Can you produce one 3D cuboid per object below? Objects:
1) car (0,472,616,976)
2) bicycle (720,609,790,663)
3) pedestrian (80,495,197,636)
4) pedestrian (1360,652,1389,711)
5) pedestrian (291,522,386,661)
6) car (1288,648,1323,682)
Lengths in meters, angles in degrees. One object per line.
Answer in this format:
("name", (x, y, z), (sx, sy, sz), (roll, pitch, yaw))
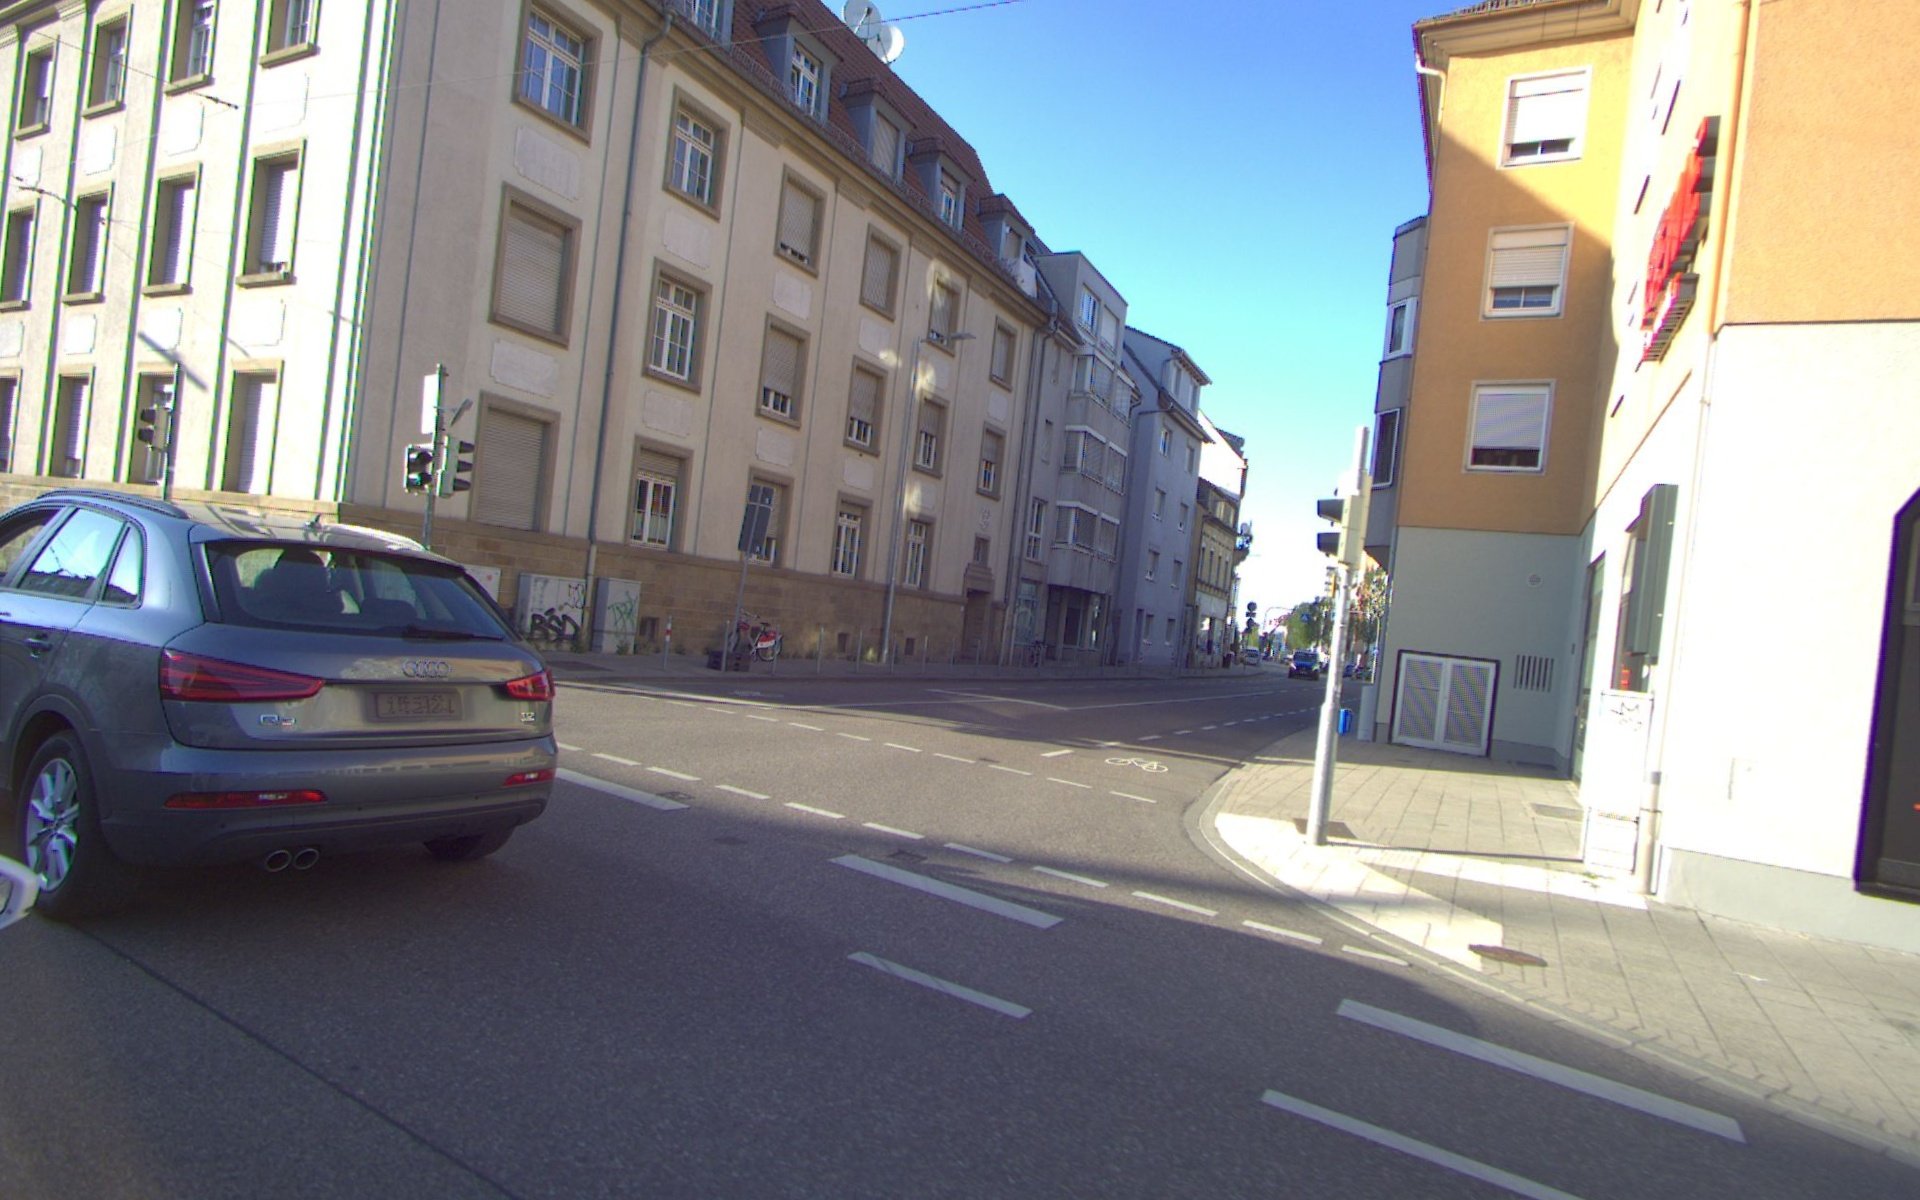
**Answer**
("car", (-3.890, 0.299, 4.972), (4.154, 1.571, 1.701), (6, -1, 30))
("bicycle", (-4.419, 0.781, 21.708), (0.246, 1.029, 1.500), (5, -2, 45))
("pedestrian", (-11.170, -0.455, 13.688), (0.810, 1.783, 0.837), (6, -1, 29))
("pedestrian", (14.580, 2.855, 35.376), (0.709, 1.977, 0.685), (5, -1, 30))
("pedestrian", (-8.463, -0.110, 13.705), (0.811, 1.779, 0.630), (6, -1, 29))
("car", (23.250, 4.334, 67.631), (1.963, 2.025, 4.486), (6, -1, 20))
